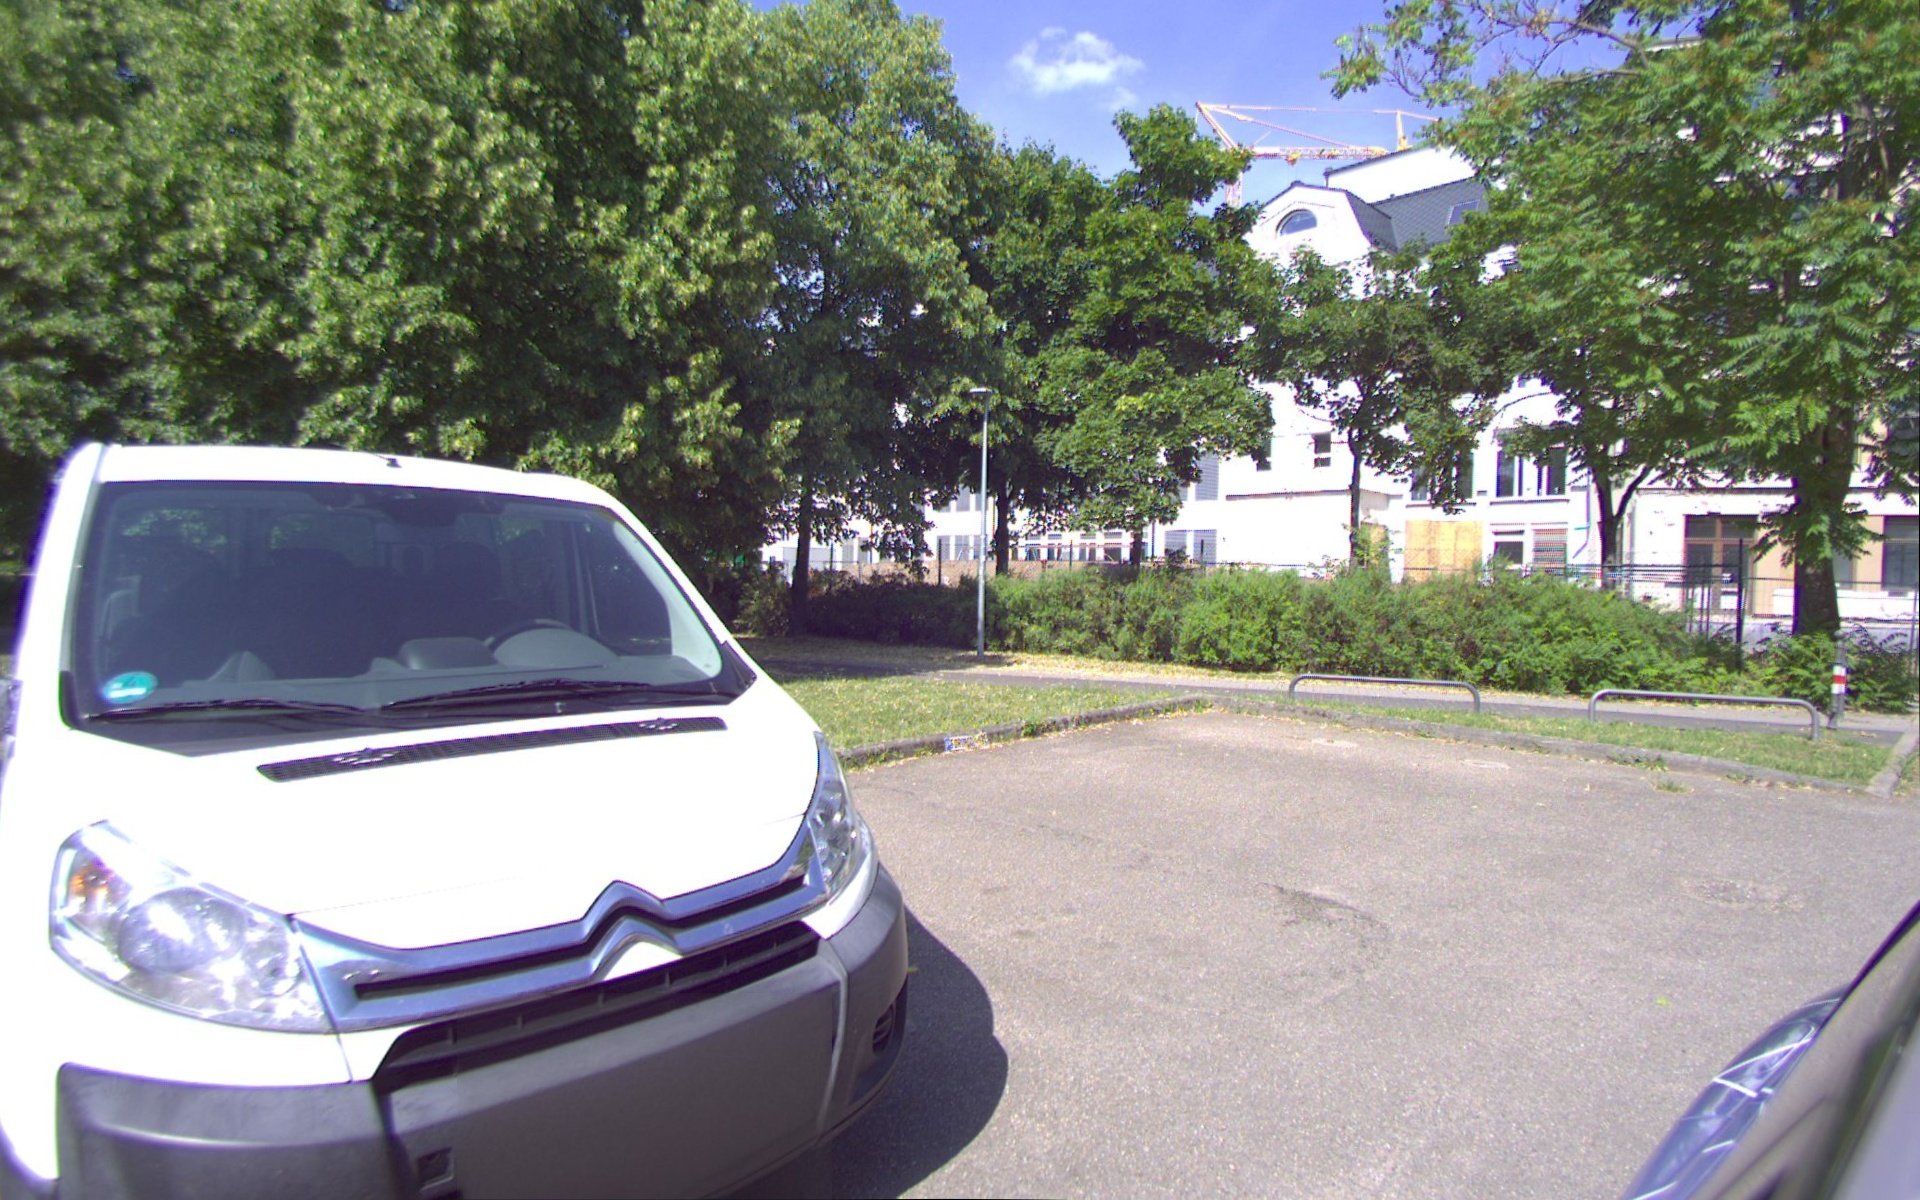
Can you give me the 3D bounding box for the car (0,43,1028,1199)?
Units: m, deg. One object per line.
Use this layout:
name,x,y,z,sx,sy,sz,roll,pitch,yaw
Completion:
car,-2.258,0.223,3.703,1.966,1.957,5.031,1,1,-42
